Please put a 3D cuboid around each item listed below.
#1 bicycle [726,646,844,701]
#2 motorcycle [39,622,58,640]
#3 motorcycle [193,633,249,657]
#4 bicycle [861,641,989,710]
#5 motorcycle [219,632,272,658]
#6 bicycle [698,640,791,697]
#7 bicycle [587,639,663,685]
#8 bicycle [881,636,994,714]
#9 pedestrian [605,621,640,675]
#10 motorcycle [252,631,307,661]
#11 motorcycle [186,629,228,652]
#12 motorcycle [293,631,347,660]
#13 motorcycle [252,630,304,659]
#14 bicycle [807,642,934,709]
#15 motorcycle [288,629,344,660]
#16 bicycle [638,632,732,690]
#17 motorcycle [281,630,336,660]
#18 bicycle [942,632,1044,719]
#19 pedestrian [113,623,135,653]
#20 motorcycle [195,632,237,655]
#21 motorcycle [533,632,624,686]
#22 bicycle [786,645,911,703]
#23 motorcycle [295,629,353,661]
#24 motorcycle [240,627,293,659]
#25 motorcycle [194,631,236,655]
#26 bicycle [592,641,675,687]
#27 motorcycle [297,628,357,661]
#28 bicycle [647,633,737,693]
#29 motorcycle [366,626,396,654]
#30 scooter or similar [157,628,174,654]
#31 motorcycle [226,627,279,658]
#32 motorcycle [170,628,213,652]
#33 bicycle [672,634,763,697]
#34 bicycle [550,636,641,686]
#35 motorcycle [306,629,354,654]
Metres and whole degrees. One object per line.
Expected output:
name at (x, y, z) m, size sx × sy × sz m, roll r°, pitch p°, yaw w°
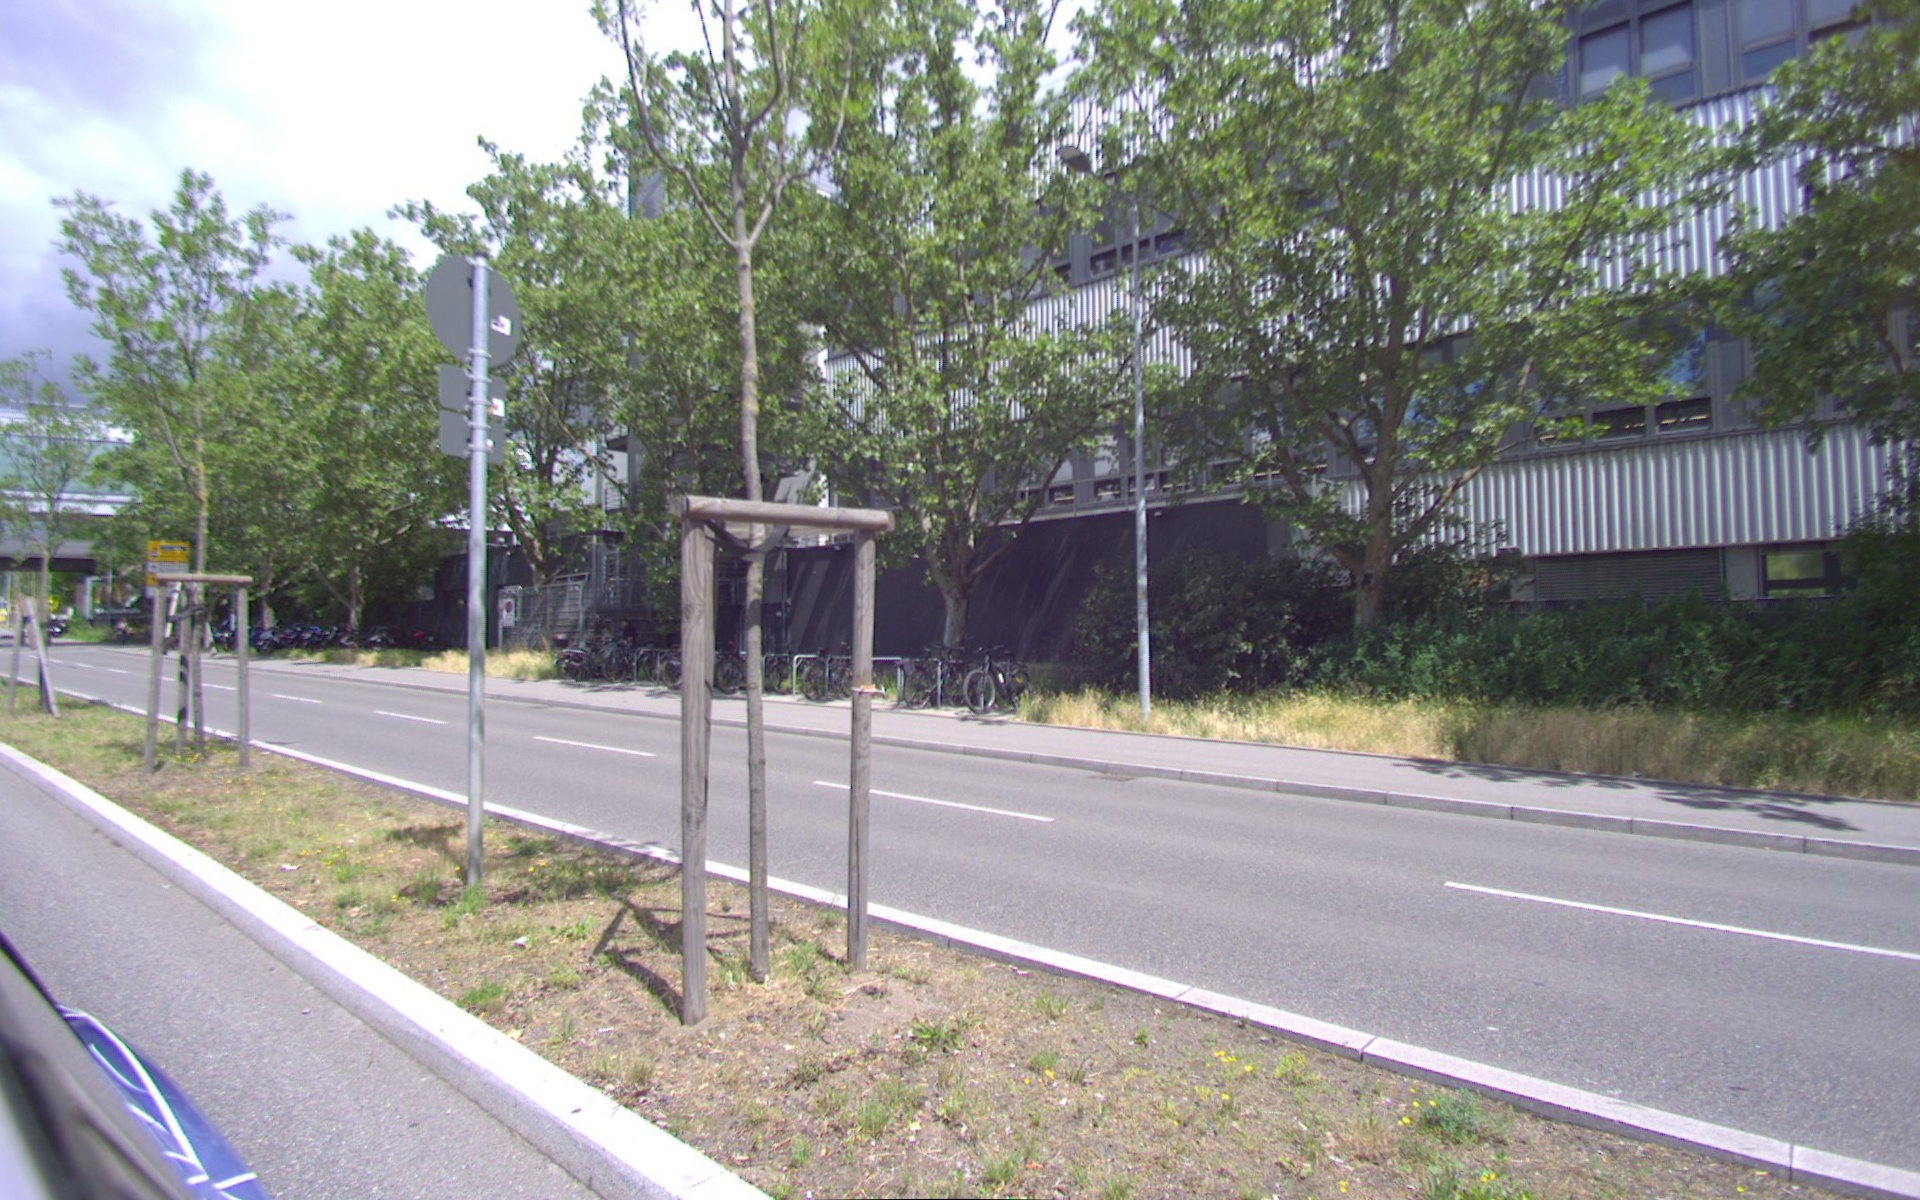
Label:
bicycle at (-3.680, 1.531, 21.628) m, size 0.848 × 1.014 × 2.814 m, roll -1°, pitch -1°, yaw 31°
motorcycle at (-63.017, 2.126, 69.982) m, size 2.255 × 1.207 × 0.633 m, roll 0°, pitch 1°, yaw 39°
motorcycle at (-35.824, 2.189, 49.080) m, size 0.917 × 1.124 × 1.919 m, roll 0°, pitch -3°, yaw 28°
bicycle at (-0.642, 1.399, 19.331) m, size 2.533 × 1.166 × 0.727 m, roll 0°, pitch -1°, yaw -40°
motorcycle at (-34.142, 2.126, 48.384) m, size 1.904 × 1.124 × 0.924 m, roll -2°, pitch -1°, yaw -23°
bicycle at (-4.635, 1.448, 21.892) m, size 0.805 × 1.131 × 1.899 m, roll -1°, pitch -1°, yaw 38°
bicycle at (-8.497, 1.554, 25.732) m, size 0.422 × 1.083 × 1.905 m, roll -1°, pitch -1°, yaw 38°
bicycle at (-0.363, 1.312, 18.231) m, size 0.555 × 1.267 × 2.379 m, roll -2°, pitch -2°, yaw 42°
pedestrian at (-10.004, 1.417, 29.991) m, size 0.744 × 1.563 × 0.822 m, roll 0°, pitch -2°, yaw -40°
motorcycle at (-29.467, 1.970, 43.841) m, size 1.855 × 1.188 × 0.816 m, roll -2°, pitch -1°, yaw -41°
motorcycle at (-39.178, 2.111, 52.659) m, size 0.773 × 1.131 × 1.579 m, roll -3°, pitch -1°, yaw 31°
motorcycle at (-26.455, 1.884, 41.852) m, size 1.853 × 1.093 × 0.796 m, roll -2°, pitch -1°, yaw -35°
motorcycle at (-30.199, 1.954, 44.826) m, size 1.853 × 1.188 × 0.817 m, roll -2°, pitch -1°, yaw -35°
bicycle at (-1.705, 1.429, 19.689) m, size 2.533 × 1.166 × 0.645 m, roll 0°, pitch -1°, yaw -40°
motorcycle at (-27.096, 1.871, 42.615) m, size 0.655 × 1.219 × 1.857 m, roll -3°, pitch -1°, yaw 43°
bicycle at (-6.584, 1.430, 24.307) m, size 0.805 × 1.292 × 2.113 m, roll -1°, pitch -1°, yaw 38°
motorcycle at (-28.001, 1.916, 43.530) m, size 0.698 × 1.188 × 1.857 m, roll -3°, pitch -1°, yaw 43°
bicycle at (0.604, 1.253, 17.374) m, size 0.489 × 1.374 × 2.144 m, roll -2°, pitch -2°, yaw 42°
pedestrian at (-46.097, 2.088, 55.789) m, size 0.812 × 1.624 × 0.760 m, roll -1°, pitch 1°, yaw 39°
motorcycle at (-37.277, 2.186, 50.710) m, size 0.776 × 1.041 × 1.574 m, roll -3°, pitch -1°, yaw 41°
motorcycle at (-9.887, 1.497, 26.293) m, size 0.805 × 1.319 × 2.113 m, roll -1°, pitch -1°, yaw 38°
bicycle at (-2.209, 1.456, 20.339) m, size 2.532 × 1.104 × 0.697 m, roll 2°, pitch -3°, yaw -40°
motorcycle at (-25.801, 1.797, 41.070) m, size 1.855 × 1.195 × 0.730 m, roll -2°, pitch 0°, yaw -42°
motorcycle at (-31.390, 1.944, 45.839) m, size 1.905 × 1.354 × 0.867 m, roll -2°, pitch -1°, yaw -29°
motorcycle at (-38.143, 2.217, 51.813) m, size 0.776 × 1.131 × 1.574 m, roll -3°, pitch -1°, yaw 41°
bicycle at (-8.174, 1.579, 25.386) m, size 0.497 × 1.070 × 2.060 m, roll -1°, pitch -1°, yaw 38°
motorcycle at (-24.656, 1.738, 39.449) m, size 1.855 × 1.182 × 0.746 m, roll -2°, pitch -1°, yaw -41°
bicycle at (-6.125, 1.409, 23.178) m, size 0.805 × 1.292 × 1.899 m, roll -1°, pitch -1°, yaw 38°
motorcycle at (-26.500, 1.851, 46.298) m, size 1.983 × 1.219 × 0.645 m, roll -3°, pitch -1°, yaw 45°
scooter or similar at (-39.317, 2.003, 50.064) m, size 1.478 × 1.245 × 0.350 m, roll 0°, pitch 0°, yaw 40°
motorcycle at (-33.111, 1.986, 47.410) m, size 1.905 × 1.300 × 0.895 m, roll -2°, pitch -1°, yaw -29°
motorcycle at (-40.795, 2.140, 53.745) m, size 1.721 × 1.180 × 0.777 m, roll -2°, pitch -1°, yaw -42°
bicycle at (-5.381, 1.428, 22.583) m, size 0.805 × 1.292 × 1.899 m, roll -1°, pitch -1°, yaw 38°
bicycle at (-9.311, 1.529, 25.919) m, size 0.805 × 1.189 × 2.113 m, roll -1°, pitch -1°, yaw 38°
motorcycle at (-31.674, 2.091, 50.910) m, size 1.904 × 1.124 × 0.924 m, roll -2°, pitch -1°, yaw -23°
